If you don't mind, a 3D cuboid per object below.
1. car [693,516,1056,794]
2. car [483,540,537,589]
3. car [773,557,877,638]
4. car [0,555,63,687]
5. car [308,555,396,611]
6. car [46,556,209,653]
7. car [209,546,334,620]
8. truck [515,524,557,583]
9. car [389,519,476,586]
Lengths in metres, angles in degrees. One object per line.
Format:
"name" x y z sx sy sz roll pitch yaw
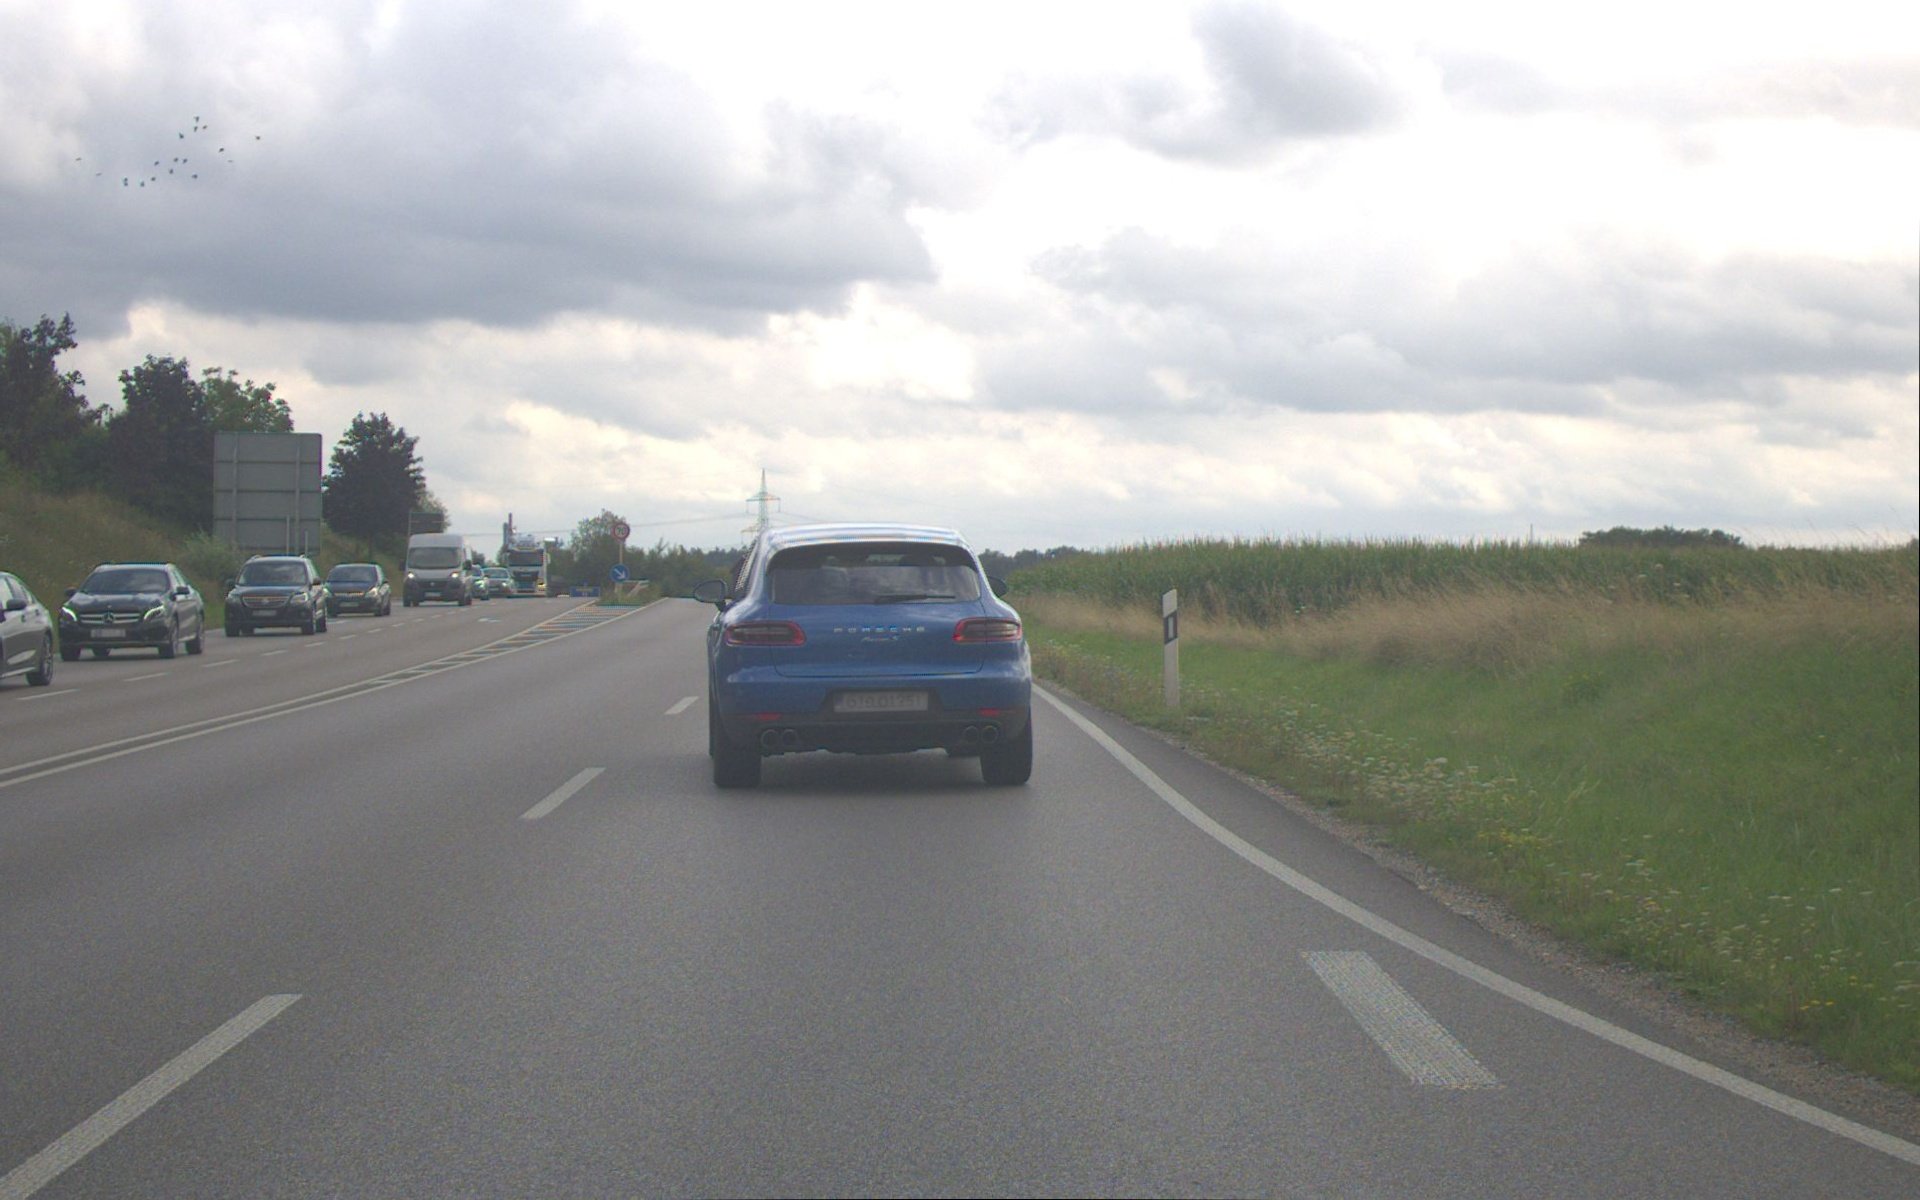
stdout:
"car" -0.676 0.286 22.316 1.993 1.565 4.757 -1 1 -5
"car" -20.659 -1.659 157.955 2.363 2.204 5.309 -1 1 -7
"car" -2.670 -0.075 68.038 1.993 1.530 4.001 0 1 -2
"car" -12.099 0.227 41.033 1.993 1.503 4.001 -1 1 -4
"car" -16.808 -0.489 95.242 1.993 1.486 4.001 -1 1 -4
"car" -13.496 0.049 55.956 1.796 1.481 4.169 -1 1 -3
"car" -14.575 -0.377 72.961 1.993 1.503 4.001 0 1 -3
"truck" -27.280 -3.035 221.112 2.567 3.623 14.664 -1 1 -7
"car" -17.927 -1.628 117.096 2.363 2.204 5.923 -1 1 -4
